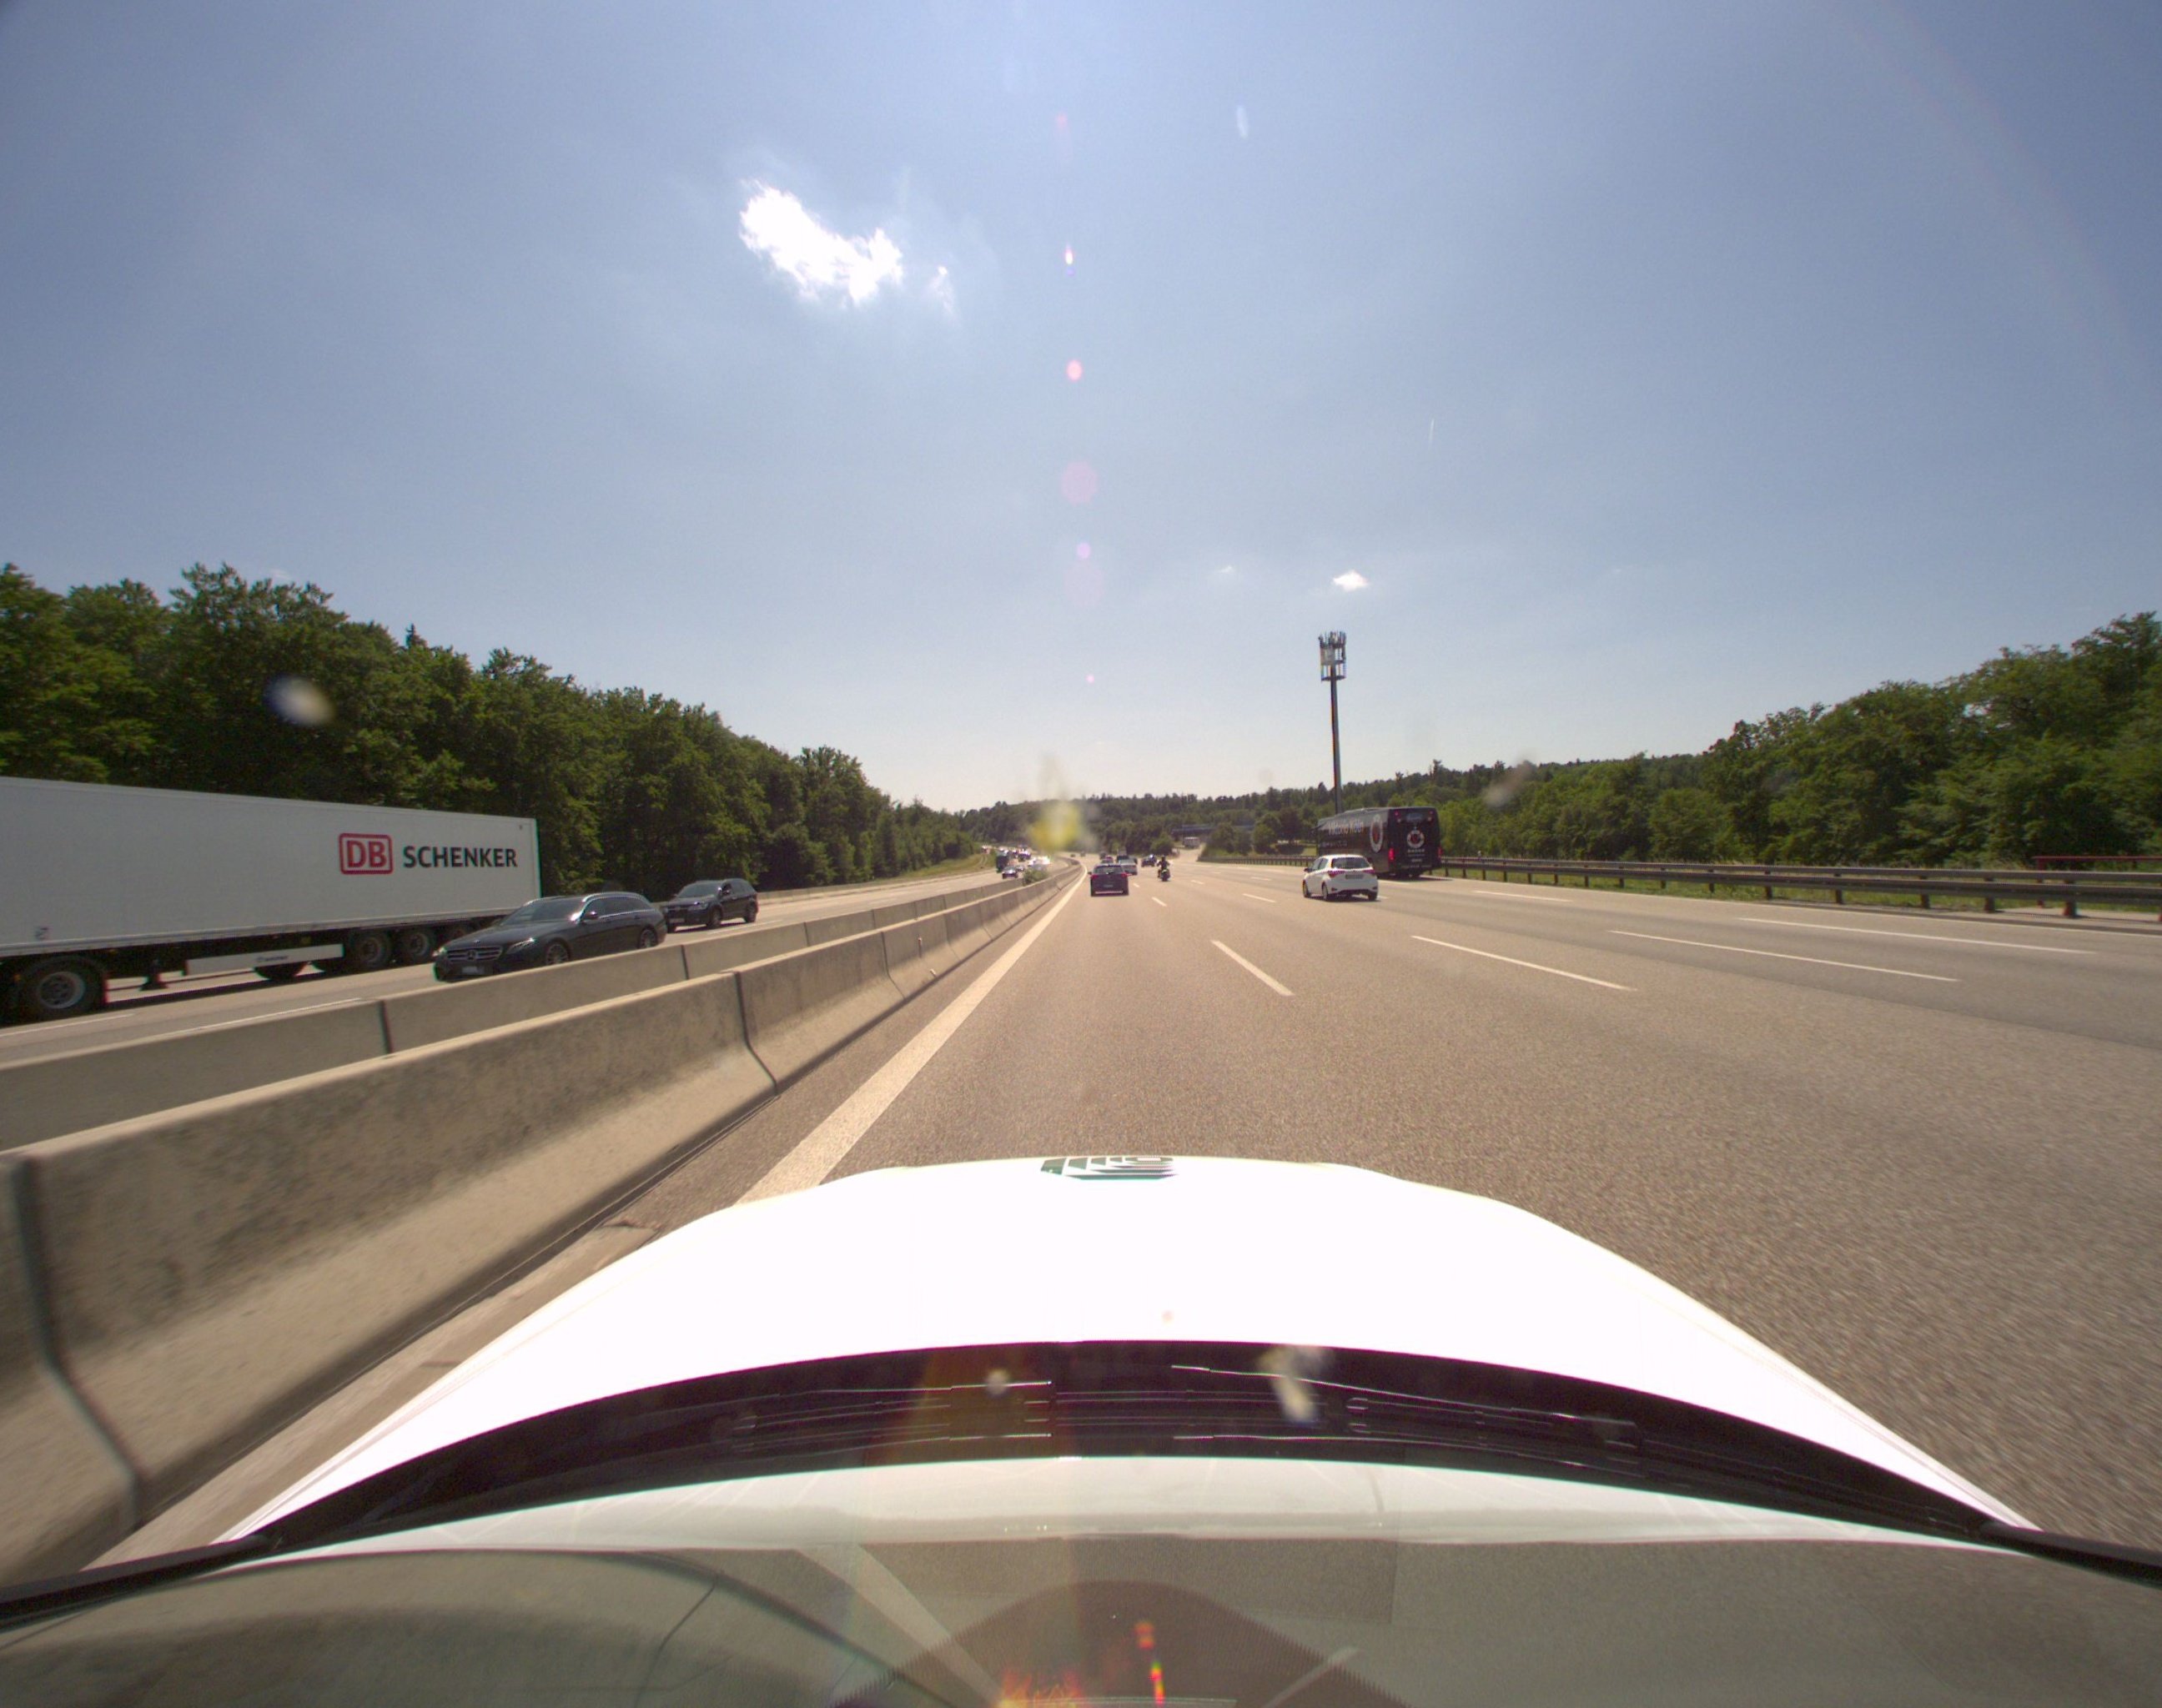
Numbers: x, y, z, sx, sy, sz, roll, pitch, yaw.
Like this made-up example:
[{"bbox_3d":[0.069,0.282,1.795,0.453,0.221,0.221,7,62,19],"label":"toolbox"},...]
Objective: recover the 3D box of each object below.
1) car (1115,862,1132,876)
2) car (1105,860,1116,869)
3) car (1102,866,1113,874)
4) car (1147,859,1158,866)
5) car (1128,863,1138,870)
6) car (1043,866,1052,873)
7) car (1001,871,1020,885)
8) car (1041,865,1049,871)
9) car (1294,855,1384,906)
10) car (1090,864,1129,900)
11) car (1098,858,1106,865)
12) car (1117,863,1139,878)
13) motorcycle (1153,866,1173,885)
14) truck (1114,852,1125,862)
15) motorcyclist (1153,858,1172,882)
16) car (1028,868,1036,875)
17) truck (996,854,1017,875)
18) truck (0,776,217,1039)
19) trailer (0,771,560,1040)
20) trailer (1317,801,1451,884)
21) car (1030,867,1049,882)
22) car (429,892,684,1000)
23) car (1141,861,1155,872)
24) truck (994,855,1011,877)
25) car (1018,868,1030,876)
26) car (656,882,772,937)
[{"bbox_3d":[5.859,2.111,112.976,2.090,1.851,4.080,-3,-1,0],"label":"car"},{"bbox_3d":[6.421,2.283,176.010,1.989,1.684,4.420,-1,0,-2],"label":"car"},{"bbox_3d":[4.372,2.621,133.883,1.531,1.212,3.458,-3,-1,-1],"label":"car"},{"bbox_3d":[13.810,1.643,157.410,1.603,1.212,3.459,-3,-1,0],"label":"car"},{"bbox_3d":[9.686,2.288,151.751,1.603,1.212,3.459,-3,-1,0],"label":"car"},{"bbox_3d":[-8.175,3.752,196.956,1.825,1.562,4.776,-3,-1,0],"label":"car"},{"bbox_3d":[-8.543,2.869,98.625,1.761,1.478,4.482,-3,-1,2],"label":"car"},{"bbox_3d":[-10.432,4.069,234.669,1.866,1.476,5.111,-3,-1,0],"label":"car"},{"bbox_3d":[8.635,0.839,27.641,1.660,1.433,4.376,-6,-1,1],"label":"car"},{"bbox_3d":[1.297,1.228,37.028,1.618,1.487,3.687,-1,0,2],"label":"car"},{"bbox_3d":[6.572,2.344,255.108,1.989,2.013,4.670,-1,0,-2],"label":"car"},{"bbox_3d":[4.244,1.480,74.612,1.777,1.265,3.459,-3,-1,0],"label":"car"},{"bbox_3d":[5.286,1.381,52.389,0.974,1.129,2.270,-3,0,-1],"label":"motorcycle"},{"bbox_3d":[11.399,0.954,239.765,2.720,2.786,5.678,-1,0,-2],"label":"truck"},{"bbox_3d":[5.268,1.029,52.544,0.960,1.437,1.234,-4,0,-3],"label":"motorcyclist"},{"bbox_3d":[-13.021,4.607,215.804,1.866,1.534,4.135,-4,-1,0],"label":"car"},{"bbox_3d":[-15.520,2.231,170.486,2.681,4.025,14.299,-4,-1,1],"label":"truck"},{"bbox_3d":[-18.260,0.915,11.793,2.705,4.099,7.879,-4,-1,1],"label":"truck"},{"bbox_3d":[-18.105,0.940,18.537,2.633,4.224,14.365,-4,-1,2],"label":"trailer"},{"bbox_3d":[16.024,-0.435,44.569,2.845,3.688,13.553,-3,-1,3],"label":"trailer"},{"bbox_3d":[-4.782,2.316,94.291,1.825,1.568,4.787,-4,-1,2],"label":"car"},{"bbox_3d":[-10.055,1.676,16.170,1.791,1.481,4.722,-5,0,2],"label":"car"},{"bbox_3d":[9.738,1.773,118.059,1.670,1.432,3.684,-2,-1,0],"label":"car"},{"bbox_3d":[-15.664,2.399,163.148,2.649,4.025,5.510,-4,-1,0],"label":"truck"},{"bbox_3d":[-10.735,3.345,153.135,1.825,1.301,4.729,-3,-1,0],"label":"car"},{"bbox_3d":[-13.355,1.963,30.009,1.791,1.643,5.081,-3,-1,2],"label":"car"}]
